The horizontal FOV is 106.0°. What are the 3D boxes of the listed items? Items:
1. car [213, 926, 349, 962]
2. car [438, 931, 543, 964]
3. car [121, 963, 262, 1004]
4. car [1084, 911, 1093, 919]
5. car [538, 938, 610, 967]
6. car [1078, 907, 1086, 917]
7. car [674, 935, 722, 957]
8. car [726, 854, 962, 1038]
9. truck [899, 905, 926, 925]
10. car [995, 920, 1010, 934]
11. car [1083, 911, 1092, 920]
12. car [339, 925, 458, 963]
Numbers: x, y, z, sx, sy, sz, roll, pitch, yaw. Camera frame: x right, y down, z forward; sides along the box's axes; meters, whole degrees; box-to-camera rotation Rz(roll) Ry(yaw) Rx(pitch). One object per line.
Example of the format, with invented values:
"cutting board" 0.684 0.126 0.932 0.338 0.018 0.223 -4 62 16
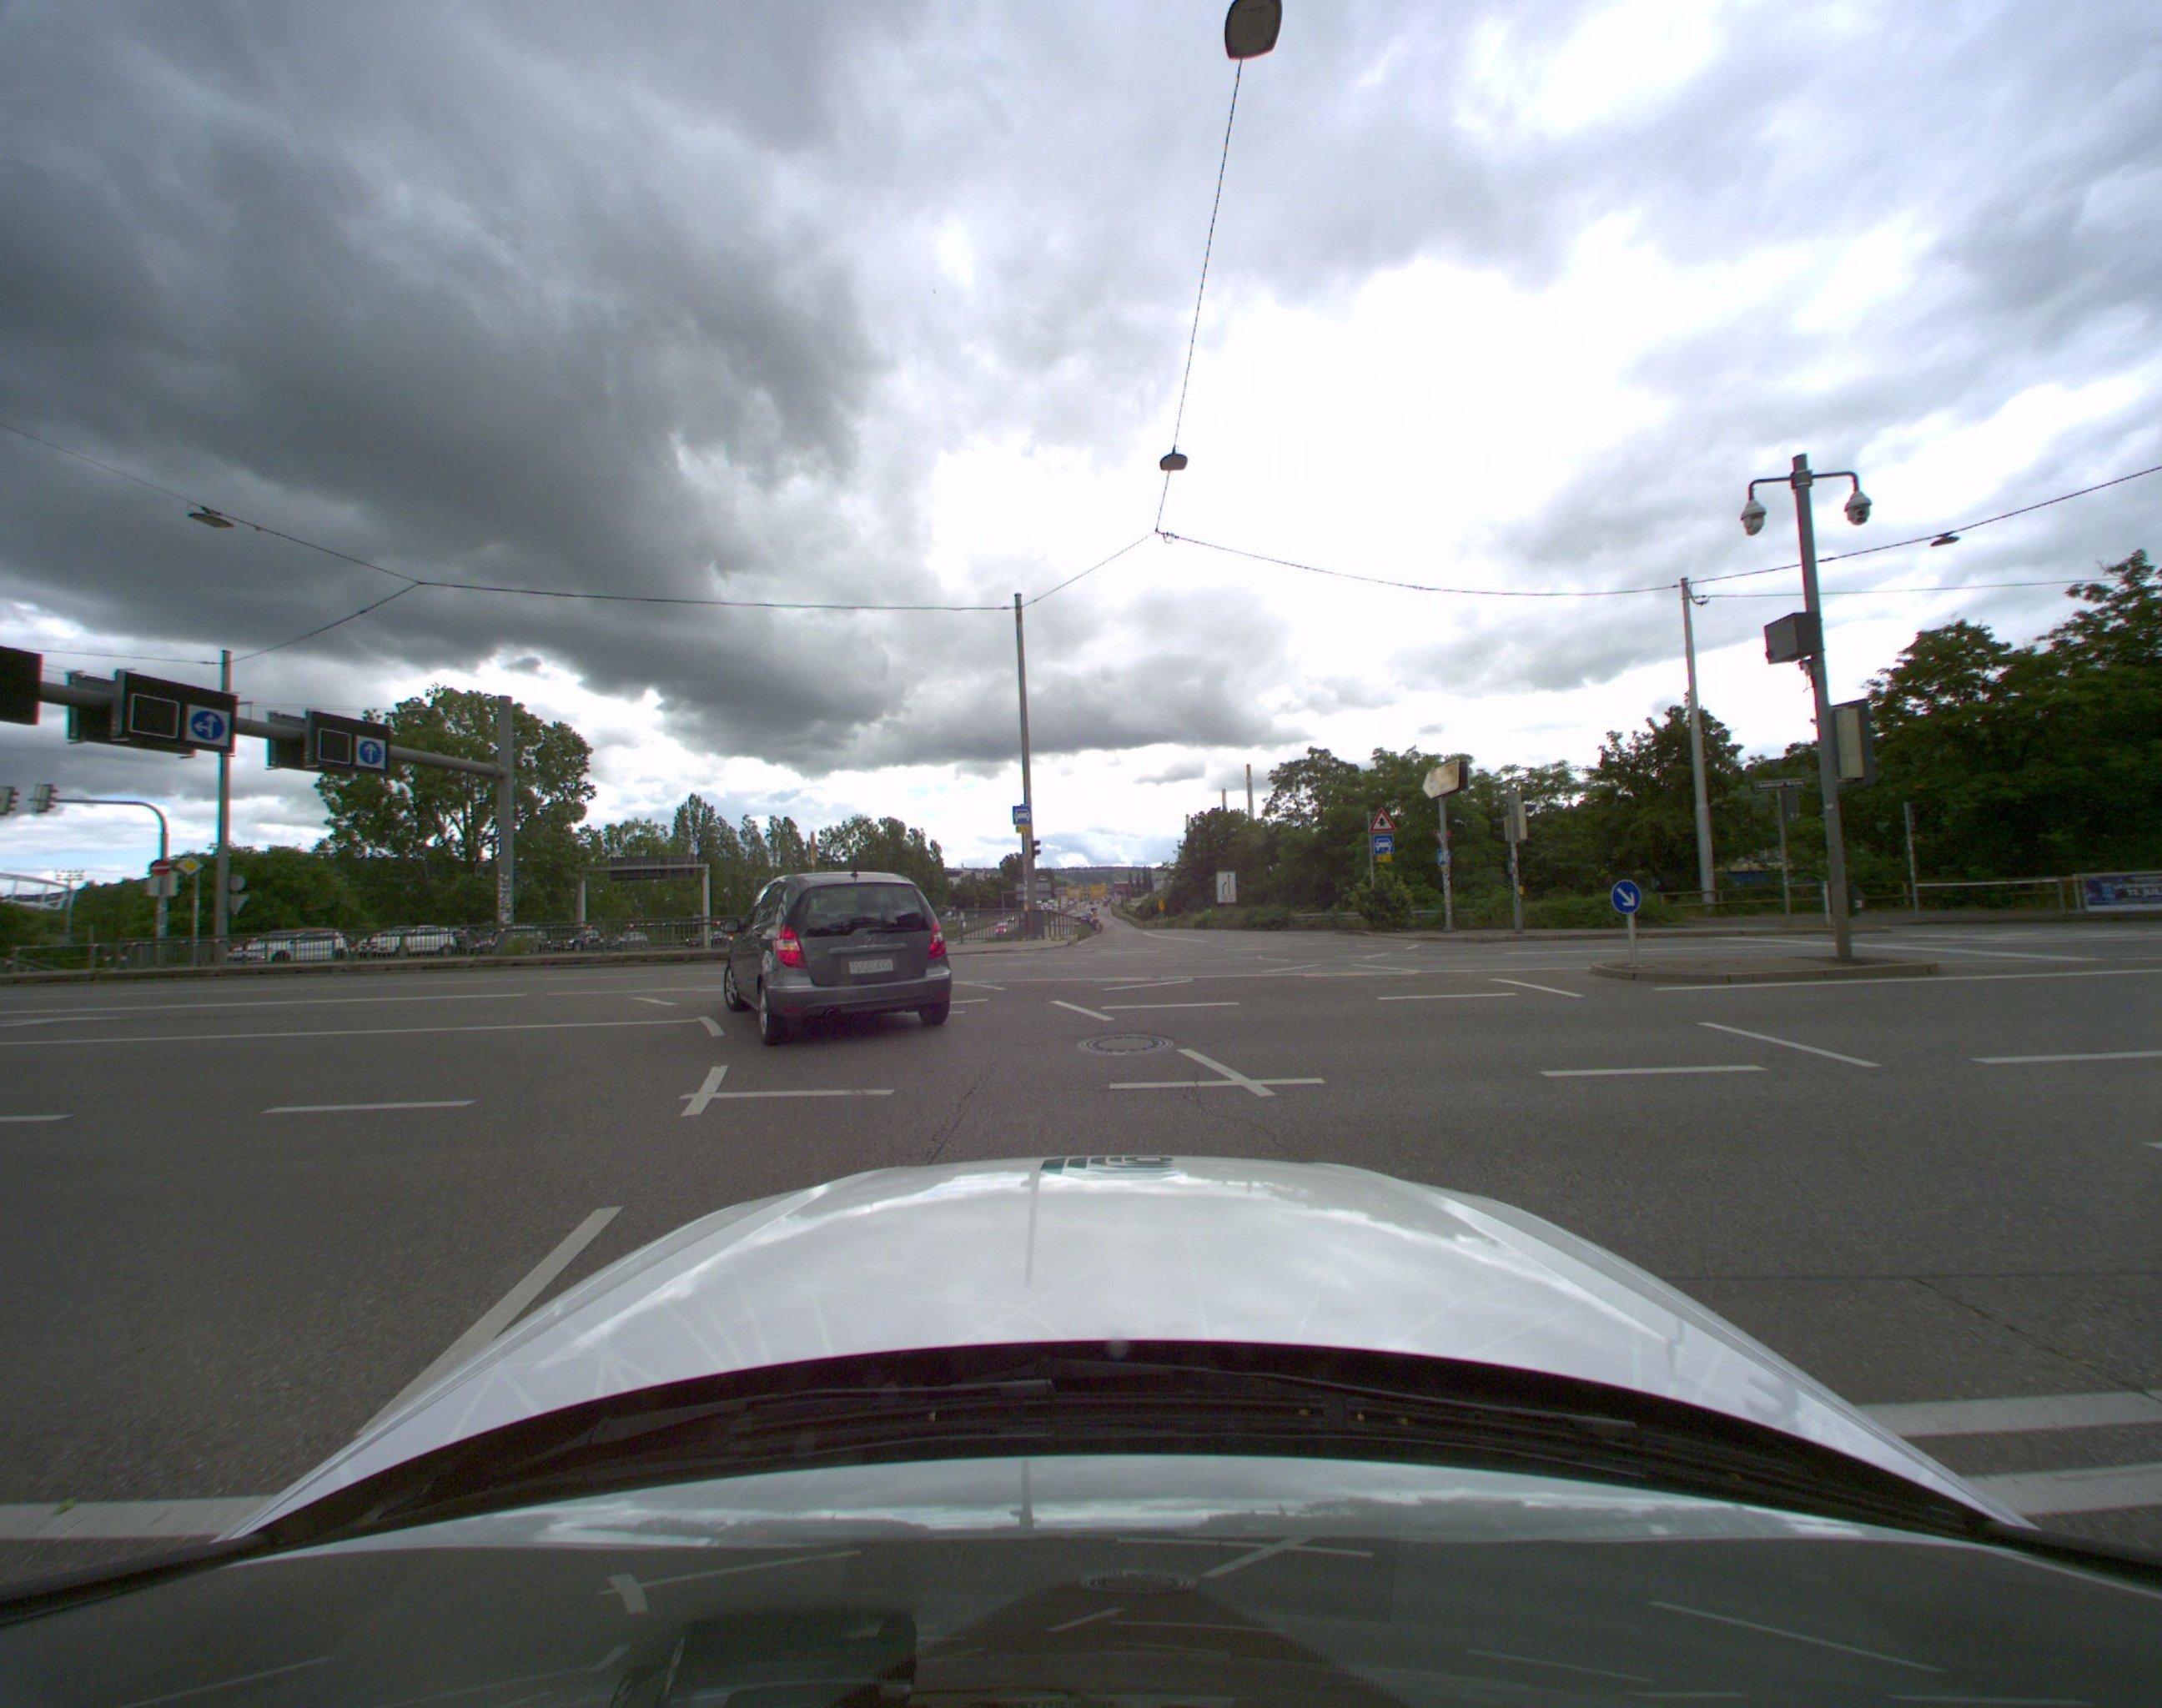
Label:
"car" -33.655 3.775 34.423 1.776 1.313 3.770 -4 -5 6
"car" -32.990 5.196 45.712 1.985 1.620 4.966 -4 -5 4
"car" -40.075 5.801 36.863 1.684 1.421 4.154 -4 -5 2
"car" 2.034 16.895 224.490 2.523 1.902 4.879 -3 -5 0
"car" -32.969 6.370 53.056 1.985 1.618 4.002 -4 -5 3
"car" 0.312 15.158 212.969 1.987 2.623 5.396 -3 -5 0
"car" -32.797 7.881 69.812 1.985 1.618 4.002 -4 -5 3
"car" -2.810 0.911 9.004 1.755 1.551 3.835 0 -4 -28
"truck" -32.555 11.712 157.743 2.761 3.510 9.266 -2 -3 4
"car" -14.333 13.431 149.729 1.986 2.371 4.591 -4 -5 2
"car" 1.485 14.915 197.118 1.987 2.014 3.998 -3 -5 0
"car" -33.654 4.423 40.328 1.985 1.620 4.346 -4 -5 4
